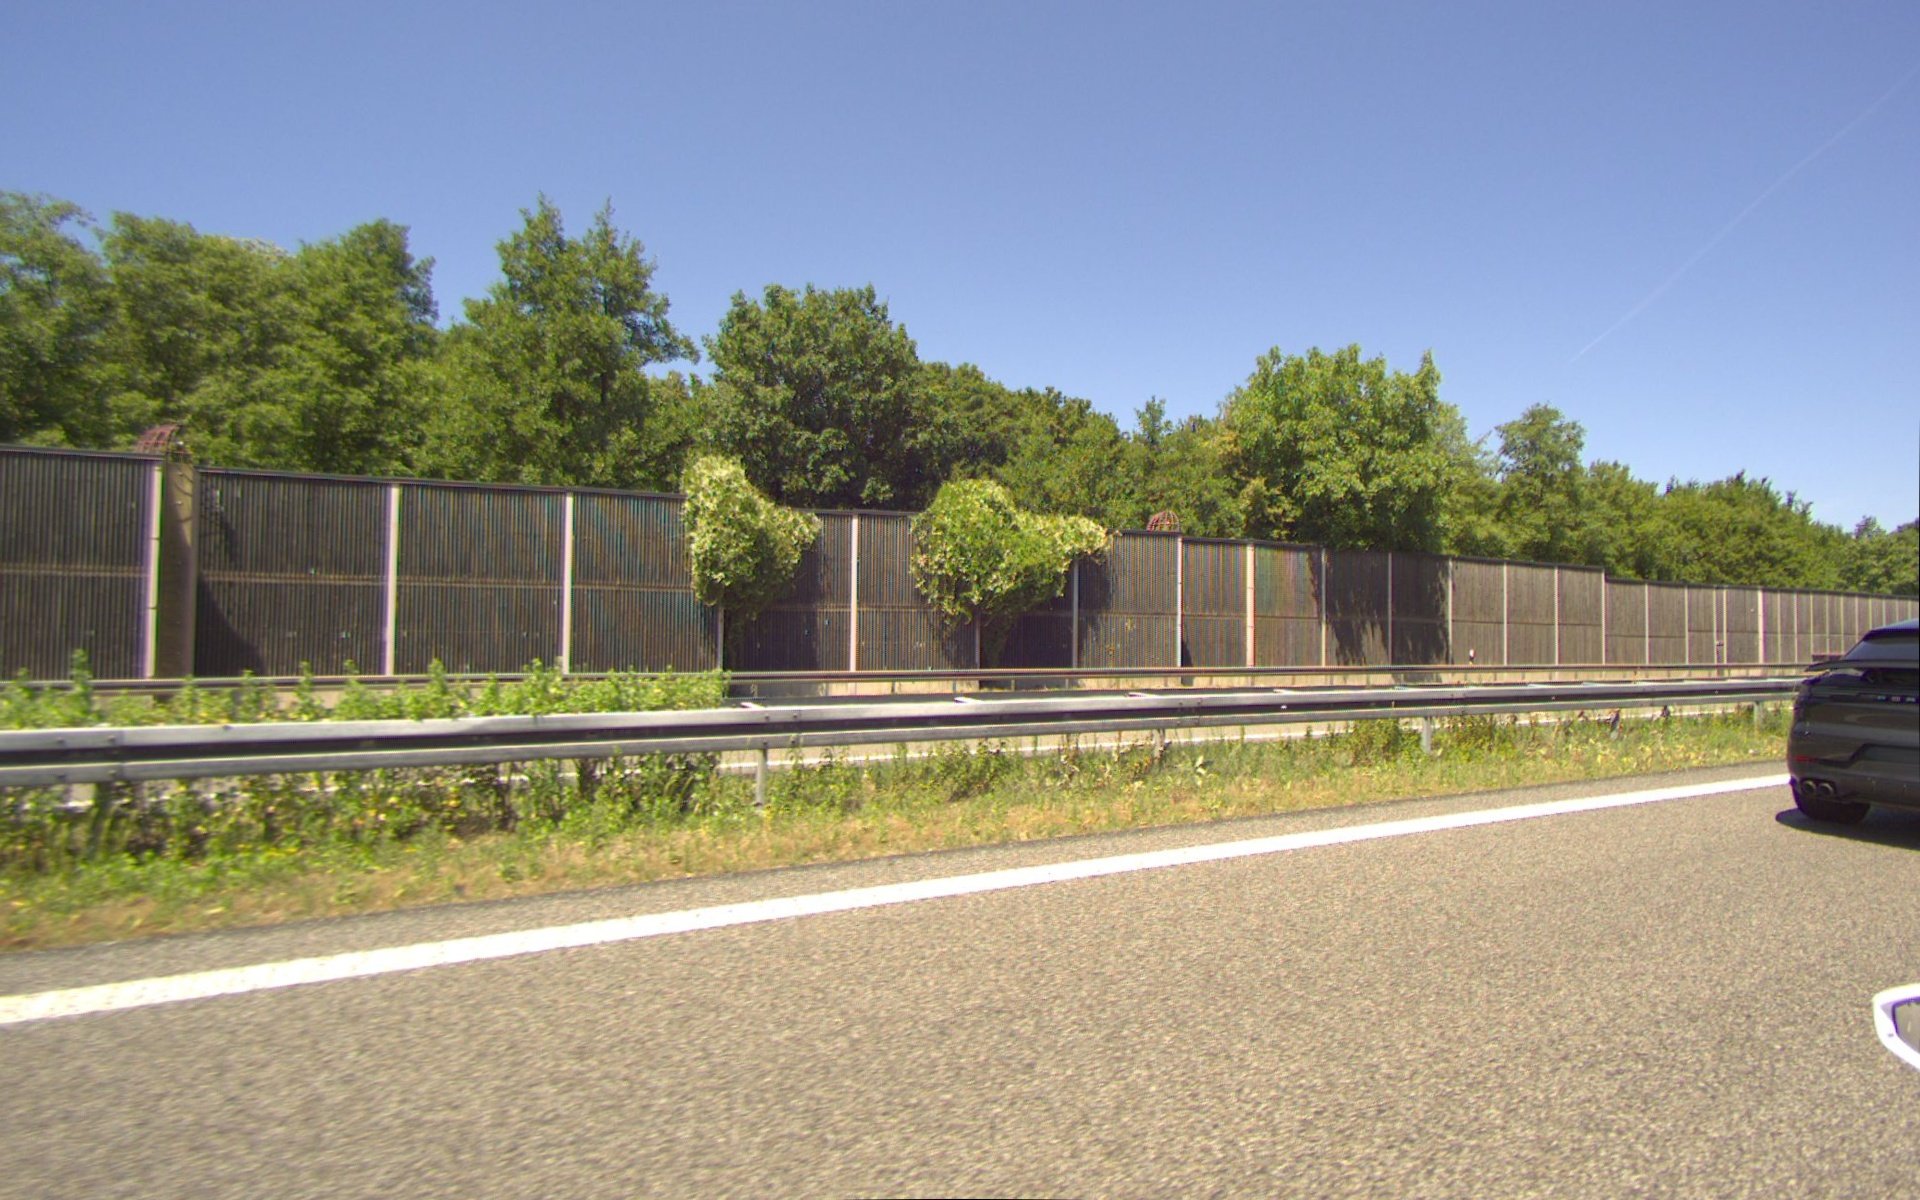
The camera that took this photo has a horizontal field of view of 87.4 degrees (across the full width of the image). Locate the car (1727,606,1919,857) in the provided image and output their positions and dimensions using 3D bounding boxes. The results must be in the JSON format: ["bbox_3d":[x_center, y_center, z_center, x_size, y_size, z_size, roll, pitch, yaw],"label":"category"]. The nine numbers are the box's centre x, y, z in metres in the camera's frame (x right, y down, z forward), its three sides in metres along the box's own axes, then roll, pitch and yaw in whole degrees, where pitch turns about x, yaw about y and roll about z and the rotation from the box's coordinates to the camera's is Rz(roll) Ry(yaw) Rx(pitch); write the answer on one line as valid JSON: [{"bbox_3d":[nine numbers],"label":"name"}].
[{"bbox_3d":[8.729,0.922,8.071,5.702,1.646,2.035,1,-1,-30],"label":"car"}]
